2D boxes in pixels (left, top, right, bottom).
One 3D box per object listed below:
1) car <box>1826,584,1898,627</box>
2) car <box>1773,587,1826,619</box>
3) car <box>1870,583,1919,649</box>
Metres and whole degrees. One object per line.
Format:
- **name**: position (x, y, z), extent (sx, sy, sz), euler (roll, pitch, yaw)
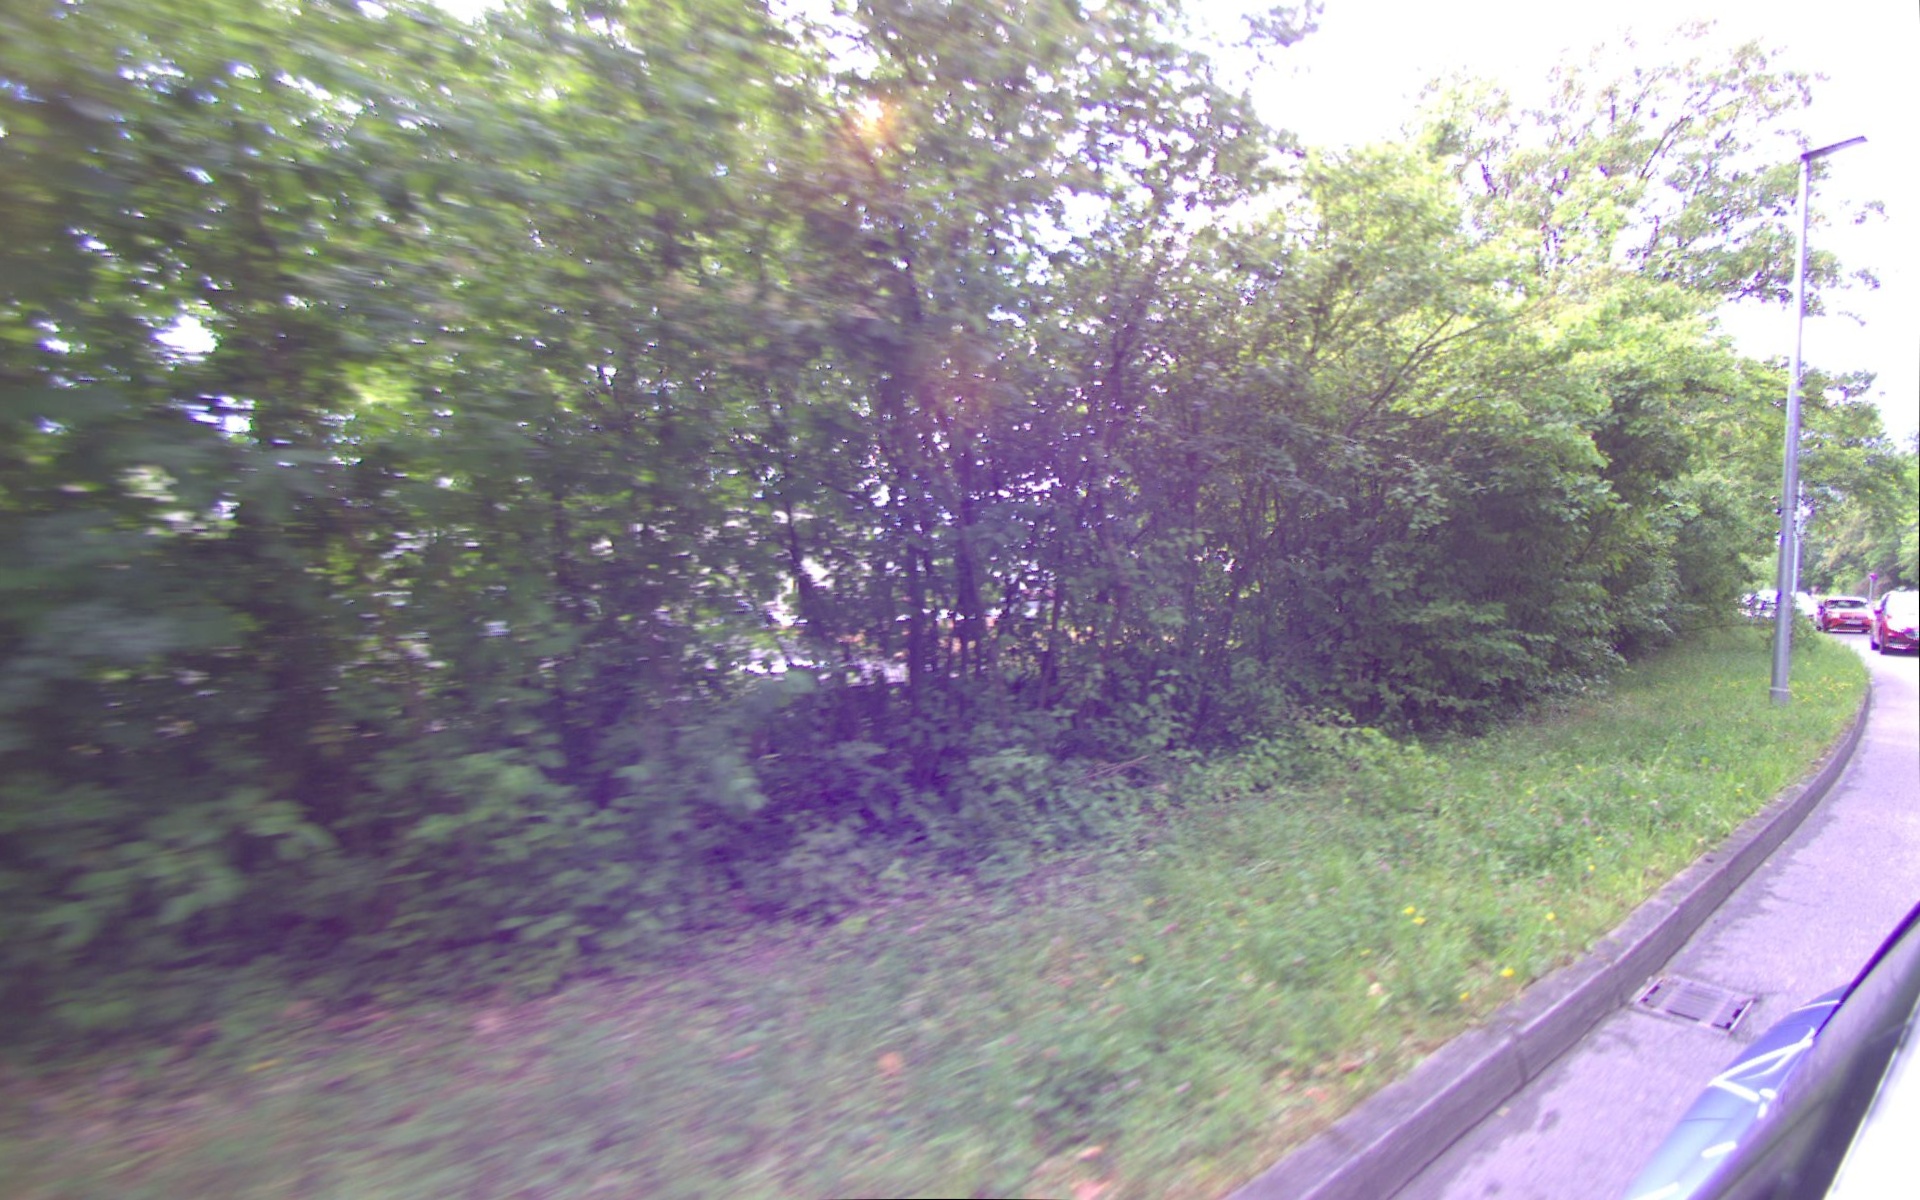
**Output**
- **car**: position (36.592, 0.205, 41.145), extent (1.992, 1.593, 3.942), euler (4, 2, 40)
- **car**: position (47.250, 0.166, 57.032), extent (1.910, 1.616, 3.849), euler (4, 2, 35)
- **car**: position (25.757, 0.414, 26.876), extent (1.851, 1.638, 4.418), euler (1, 0, 36)
